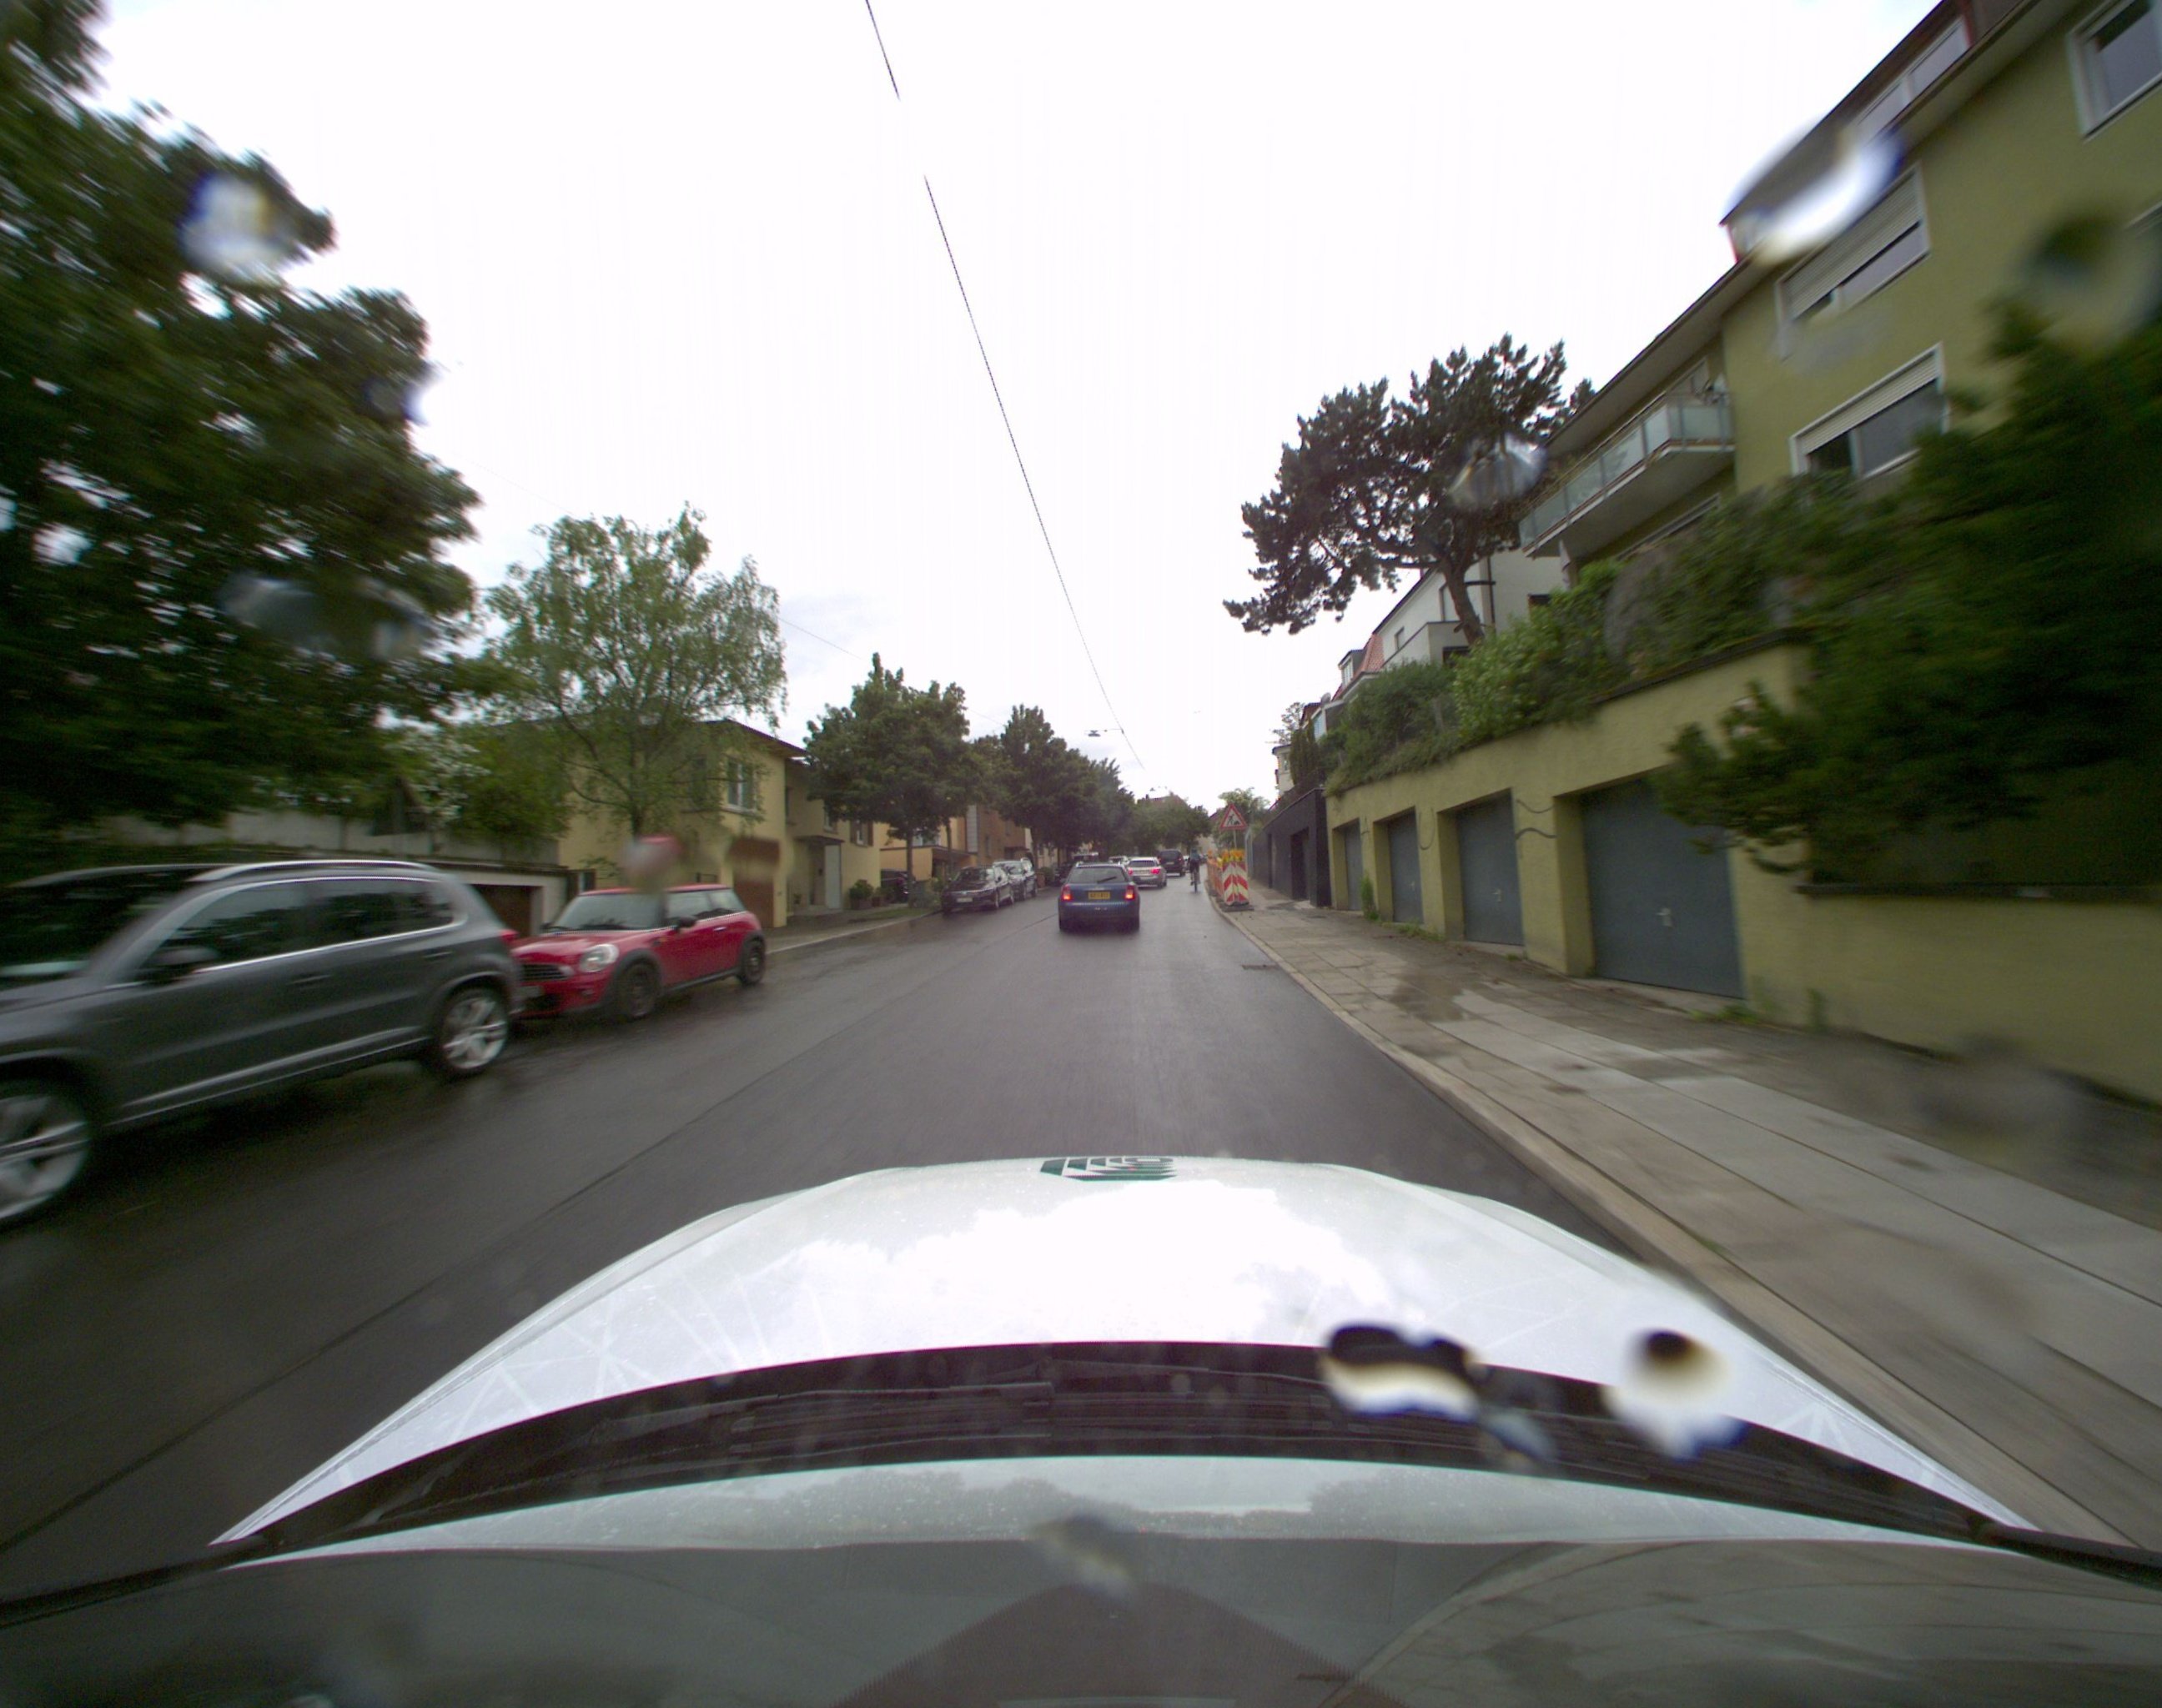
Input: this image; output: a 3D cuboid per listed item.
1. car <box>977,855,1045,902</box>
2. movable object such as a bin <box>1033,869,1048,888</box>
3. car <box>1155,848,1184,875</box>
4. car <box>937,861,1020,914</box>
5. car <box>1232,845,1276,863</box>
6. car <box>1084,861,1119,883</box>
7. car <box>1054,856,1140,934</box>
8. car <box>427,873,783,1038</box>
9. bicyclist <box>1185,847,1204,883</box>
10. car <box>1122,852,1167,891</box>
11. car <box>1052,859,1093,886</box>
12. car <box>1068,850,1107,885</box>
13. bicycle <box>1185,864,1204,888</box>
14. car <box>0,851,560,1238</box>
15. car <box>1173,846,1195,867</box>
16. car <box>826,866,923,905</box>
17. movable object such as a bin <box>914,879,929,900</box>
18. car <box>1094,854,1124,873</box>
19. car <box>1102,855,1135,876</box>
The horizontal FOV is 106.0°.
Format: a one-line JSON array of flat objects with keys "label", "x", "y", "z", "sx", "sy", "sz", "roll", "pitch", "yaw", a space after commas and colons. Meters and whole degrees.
[{"label": "car", "x": -2.810, "y": 0.945, "z": 33.656, "sx": 1.758, "sy": 1.634, "sz": 4.119, "roll": -6, "pitch": -1, "yaw": 8}, {"label": "movable object such as a bin", "x": -2.369, "y": 1.443, "z": 47.942, "sx": 0.680, "sy": 1.011, "sz": 0.709, "roll": -7, "pitch": -1, "yaw": 3}, {"label": "car", "x": 6.206, "y": 0.479, "z": 56.932, "sx": 1.723, "sy": 1.768, "sz": 4.247, "roll": 0, "pitch": 2, "yaw": 9}, {"label": "car", "x": -3.437, "y": 1.076, "z": 28.137, "sx": 1.759, "sy": 1.535, "sz": 4.612, "roll": -4, "pitch": 0, "yaw": 6}, {"label": "car", "x": 16.978, "y": 0.016, "z": 79.832, "sx": 3.957, "sy": 1.466, "sz": 1.747, "roll": -4, "pitch": 0, "yaw": 16}, {"label": "car", "x": 1.587, "y": 1.313, "z": 61.592, "sx": 1.756, "sy": 1.387, "sz": 4.649, "roll": -4, "pitch": 0, "yaw": 11}, {"label": "car", "x": 0.464, "y": 0.833, "z": 18.433, "sx": 1.726, "sy": 1.466, "sz": 4.005, "roll": 0, "pitch": 2, "yaw": 4}, {"label": "car", "x": -5.261, "y": 1.015, "z": 9.697, "sx": 1.674, "sy": 1.472, "sz": 3.870, "roll": -3, "pitch": -1, "yaw": 5}, {"label": "bicyclist", "x": 4.794, "y": 0.446, "z": 34.453, "sx": 0.721, "sy": 1.472, "sz": 0.888, "roll": -2, "pitch": 0, "yaw": 9}, {"label": "car", "x": 3.070, "y": 0.775, "z": 38.646, "sx": 1.965, "sy": 1.635, "sz": 4.243, "roll": 0, "pitch": 2, "yaw": 6}, {"label": "car", "x": -0.458, "y": 1.090, "z": 49.908, "sx": 1.758, "sy": 1.436, "sz": 4.357, "roll": -4, "pitch": -1, "yaw": 8}, {"label": "car", "x": 0.497, "y": 0.882, "z": 55.388, "sx": 1.781, "sy": 2.049, "sz": 4.794, "roll": -6, "pitch": 0, "yaw": 9}, {"label": "bicycle", "x": 4.813, "y": 0.932, "z": 34.480, "sx": 0.725, "sy": 0.965, "sz": 1.675, "roll": -1, "pitch": 0, "yaw": 9}, {"label": "car", "x": -5.520, "y": 0.877, "z": 4.835, "sx": 1.793, "sy": 1.669, "sz": 4.429, "roll": -3, "pitch": -1, "yaw": 3}, {"label": "car", "x": 9.055, "y": 0.194, "z": 71.299, "sx": 1.723, "sy": 1.768, "sz": 4.247, "roll": 0, "pitch": 2, "yaw": 9}, {"label": "car", "x": -9.862, "y": 1.502, "z": 39.017, "sx": 4.030, "sy": 1.646, "sz": 1.868, "roll": -2, "pitch": -1, "yaw": 8}, {"label": "movable object such as a bin", "x": -8.055, "y": 1.769, "z": 41.194, "sx": 0.584, "sy": 1.023, "sz": 0.587, "roll": -1, "pitch": 0, "yaw": 5}, {"label": "car", "x": 3.418, "y": 1.153, "z": 100.284, "sx": 3.188, "sy": 1.740, "sz": 1.485, "roll": -9, "pitch": -1, "yaw": 13}, {"label": "car", "x": 3.187, "y": 0.935, "z": 68.363, "sx": 1.756, "sy": 1.627, "sz": 4.707, "roll": -4, "pitch": -1, "yaw": 13}]
